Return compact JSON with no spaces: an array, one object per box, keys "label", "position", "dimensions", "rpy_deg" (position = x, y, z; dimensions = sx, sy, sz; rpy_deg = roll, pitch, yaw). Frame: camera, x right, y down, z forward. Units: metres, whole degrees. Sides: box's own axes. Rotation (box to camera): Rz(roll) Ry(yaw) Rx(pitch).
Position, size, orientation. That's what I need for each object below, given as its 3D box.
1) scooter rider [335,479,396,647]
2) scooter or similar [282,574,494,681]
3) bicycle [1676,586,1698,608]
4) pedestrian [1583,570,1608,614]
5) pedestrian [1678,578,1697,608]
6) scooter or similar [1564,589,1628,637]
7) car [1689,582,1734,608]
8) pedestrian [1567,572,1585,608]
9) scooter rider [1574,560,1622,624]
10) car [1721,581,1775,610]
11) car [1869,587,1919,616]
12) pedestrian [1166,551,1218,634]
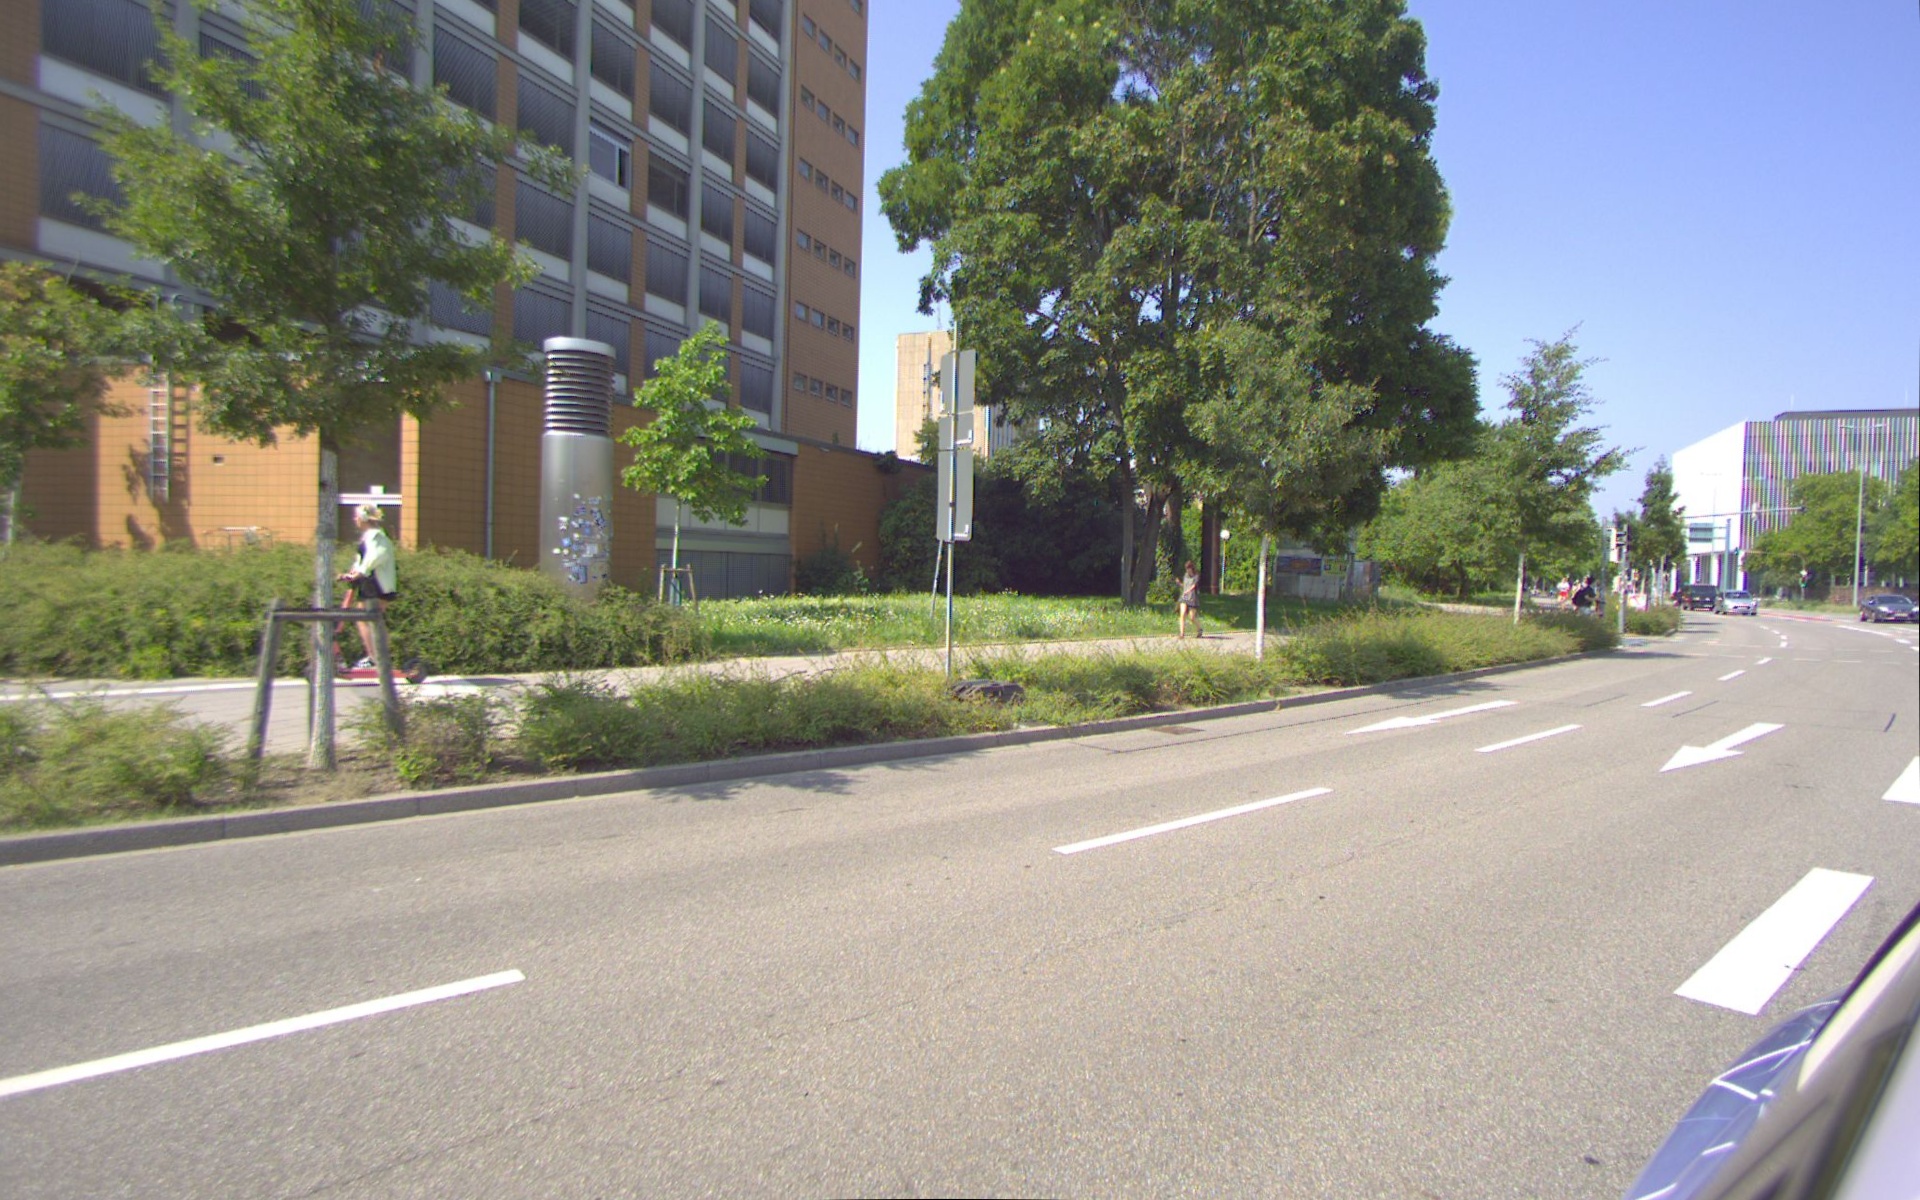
[{"label":"scooter rider","position":[-6.337,-0.393,10.787],"dimensions":[0.529,1.720,0.673],"rpy_deg":[0,2,-33]},{"label":"scooter or similar","position":[-6.167,0.261,10.985],"dimensions":[1.965,1.073,0.558],"rpy_deg":[-1,3,-34]},{"label":"bicycle","position":[42.700,-0.179,59.439],"dimensions":[0.779,1.227,1.771],"rpy_deg":[2,2,29]},{"label":"pedestrian","position":[26.691,-0.353,42.519],"dimensions":[0.787,1.790,0.818],"rpy_deg":[2,2,30]},{"label":"pedestrian","position":[42.642,-0.405,59.318],"dimensions":[0.774,1.689,0.543],"rpy_deg":[3,2,30]},{"label":"scooter or similar","position":[17.773,0.352,28.314],"dimensions":[0.573,1.249,1.371],"rpy_deg":[1,3,-24]},{"label":"car","position":[54.909,-0.419,73.998],"dimensions":[1.982,1.801,3.960],"rpy_deg":[2,2,28]},{"label":"pedestrian","position":[31.383,-0.532,51.588],"dimensions":[0.688,1.793,0.581],"rpy_deg":[3,2,30]},{"label":"scooter rider","position":[17.845,-0.230,28.308],"dimensions":[0.674,1.760,0.807],"rpy_deg":[1,3,-24]},{"label":"car","position":[49.248,-0.312,63.329],"dimensions":[1.982,1.699,3.960],"rpy_deg":[2,2,28]},{"label":"car","position":[47.284,0.059,50.737],"dimensions":[1.775,1.374,3.391],"rpy_deg":[1,1,28]},{"label":"pedestrian","position":[5.056,-0.169,22.051],"dimensions":[0.705,1.725,0.866],"rpy_deg":[5,4,42]}]
